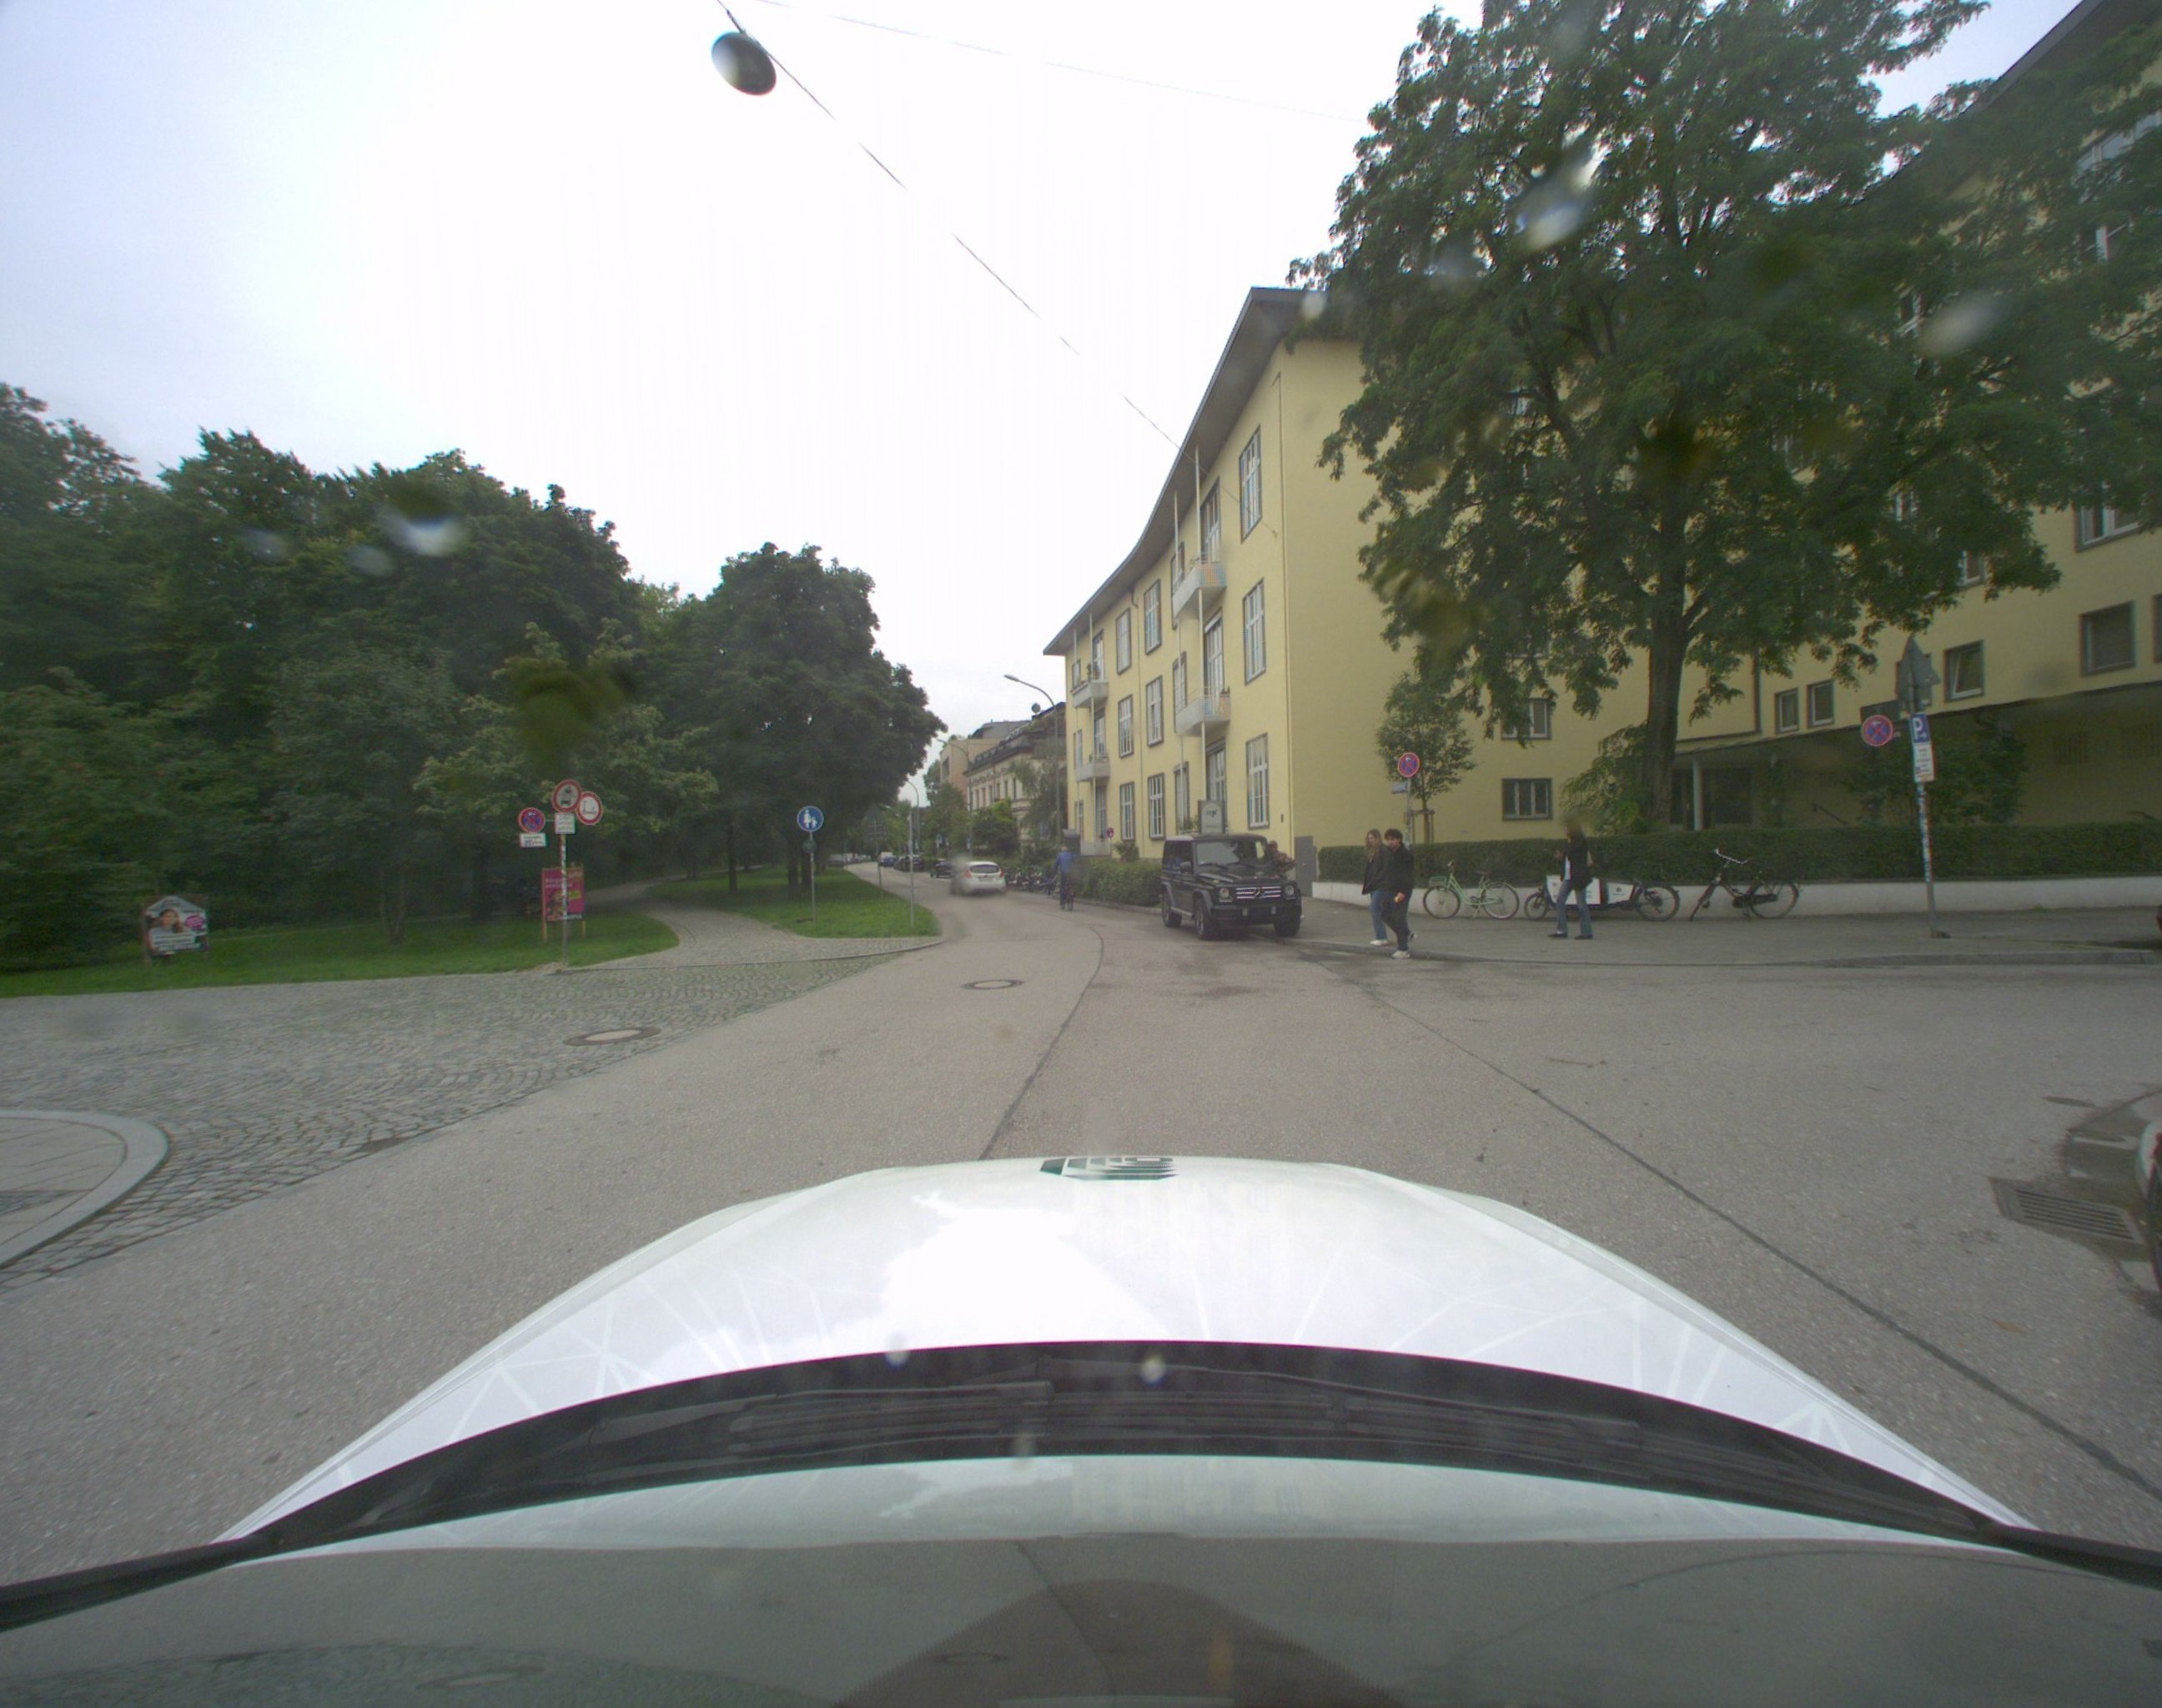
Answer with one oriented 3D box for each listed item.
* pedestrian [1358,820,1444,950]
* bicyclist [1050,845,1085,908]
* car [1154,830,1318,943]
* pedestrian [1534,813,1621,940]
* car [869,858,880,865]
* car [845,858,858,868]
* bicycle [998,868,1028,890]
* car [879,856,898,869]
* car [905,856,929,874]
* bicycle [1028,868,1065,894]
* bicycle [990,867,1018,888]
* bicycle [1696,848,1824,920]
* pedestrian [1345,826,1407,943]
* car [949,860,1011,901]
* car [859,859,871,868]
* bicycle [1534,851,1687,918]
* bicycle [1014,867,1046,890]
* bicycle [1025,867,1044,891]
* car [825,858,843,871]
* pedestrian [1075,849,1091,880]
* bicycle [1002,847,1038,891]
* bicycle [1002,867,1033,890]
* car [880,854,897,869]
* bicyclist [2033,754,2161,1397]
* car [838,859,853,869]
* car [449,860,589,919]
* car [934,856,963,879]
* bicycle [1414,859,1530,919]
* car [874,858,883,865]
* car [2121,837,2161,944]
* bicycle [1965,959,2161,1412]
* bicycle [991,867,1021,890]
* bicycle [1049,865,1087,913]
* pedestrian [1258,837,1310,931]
[{"bbox_3d":[4.625,0.443,11.830,0.984,1.809,0.661,-2,0,9],"label":"pedestrian"},{"bbox_3d":[-0.406,0.628,23.677,0.912,1.764,1.213,-2,0,-5],"label":"bicyclist"},{"bbox_3d":[2.899,0.554,16.388,1.872,1.887,4.607,-2,0,-7],"label":"car"},{"bbox_3d":[7.633,0.344,12.559,0.845,1.857,0.769,-3,-1,10],"label":"pedestrian"},{"bbox_3d":[-48.831,1.747,192.424,1.993,1.600,4.453,-2,0,-9],"label":"car"},{"bbox_3d":[-41.998,1.647,149.162,1.996,1.600,4.446,-2,0,-14],"label":"car"},{"bbox_3d":[-3.335,1.218,39.861,0.404,1.014,1.547,-3,0,43],"label":"bicycle"},{"bbox_3d":[-25.088,1.080,106.011,2.000,1.600,4.227,-2,0,-19],"label":"car"},{"bbox_3d":[-16.333,1.085,80.783,1.798,1.680,3.974,-2,0,-19],"label":"car"},{"bbox_3d":[-1.516,1.175,35.505,1.538,1.014,0.365,-3,0,-20],"label":"bicycle"},{"bbox_3d":[-3.975,1.216,42.021,0.404,1.014,1.547,-3,0,43],"label":"bicycle"},{"bbox_3d":[11.364,0.493,13.655,1.674,1.130,0.461,-2,0,5],"label":"bicycle"},{"bbox_3d":[4.561,0.468,12.624,0.820,1.746,0.744,-2,0,17],"label":"pedestrian"},{"bbox_3d":[-4.006,0.989,31.851,1.752,1.406,3.705,-2,0,-17],"label":"car"},{"bbox_3d":[-44.776,1.964,168.815,1.801,1.658,4.238,-2,0,-8],"label":"car"},{"bbox_3d":[9.267,0.549,14.359,2.148,1.115,0.644,-2,0,22],"label":"bicycle"},{"bbox_3d":[-2.413,1.160,38.477,1.545,1.014,0.363,-3,0,-39],"label":"bicycle"},{"bbox_3d":[-2.104,1.128,37.368,0.363,1.014,1.544,-3,0,15],"label":"bicycle"},{"bbox_3d":[-31.654,1.318,104.316,1.999,1.600,4.440,-2,0,-18],"label":"car"},{"bbox_3d":[0.123,0.583,45.375,0.632,1.684,0.694,-3,0,-16],"label":"pedestrian"},{"bbox_3d":[-2.893,0.705,38.821,1.687,2.013,0.451,-3,0,-44],"label":"bicycle"},{"bbox_3d":[-3.060,1.161,39.398,1.546,1.014,0.404,-3,0,-44],"label":"bicycle"},{"bbox_3d":[-27.266,1.096,115.163,2.070,1.966,4.951,-2,0,-15],"label":"car"},{"bbox_3d":[3.045,0.548,1.798,0.867,1.609,1.056,-2,0,28],"label":"bicyclist"},{"bbox_3d":[-38.614,1.578,133.531,1.996,1.600,4.446,-2,0,-14],"label":"car"},{"bbox_3d":[-21.535,1.311,31.320,1.764,2.013,4.026,-3,0,38],"label":"car"},{"bbox_3d":[-9.924,0.985,60.887,1.650,1.558,3.540,-2,0,-16],"label":"car"},{"bbox_3d":[7.548,0.691,15.793,0.532,1.085,1.926,-1,-2,-41],"label":"bicycle"},{"bbox_3d":[-49.351,1.787,198.263,1.803,1.658,4.234,-2,0,-11],"label":"car"},{"bbox_3d":[15.894,0.376,9.729,4.296,1.367,1.666,-2,-3,7],"label":"car"},{"bbox_3d":[3.049,0.897,1.754,0.868,1.019,2.204,-2,0,29],"label":"bicycle"},{"bbox_3d":[-3.694,1.207,40.207,0.404,1.014,1.547,-3,0,43],"label":"bicycle"},{"bbox_3d":[-0.397,0.993,23.683,0.919,1.252,2.318,-2,0,-4],"label":"bicycle"},{"bbox_3d":[3.973,0.565,16.011,0.843,1.757,0.956,-2,0,8],"label":"pedestrian"}]
